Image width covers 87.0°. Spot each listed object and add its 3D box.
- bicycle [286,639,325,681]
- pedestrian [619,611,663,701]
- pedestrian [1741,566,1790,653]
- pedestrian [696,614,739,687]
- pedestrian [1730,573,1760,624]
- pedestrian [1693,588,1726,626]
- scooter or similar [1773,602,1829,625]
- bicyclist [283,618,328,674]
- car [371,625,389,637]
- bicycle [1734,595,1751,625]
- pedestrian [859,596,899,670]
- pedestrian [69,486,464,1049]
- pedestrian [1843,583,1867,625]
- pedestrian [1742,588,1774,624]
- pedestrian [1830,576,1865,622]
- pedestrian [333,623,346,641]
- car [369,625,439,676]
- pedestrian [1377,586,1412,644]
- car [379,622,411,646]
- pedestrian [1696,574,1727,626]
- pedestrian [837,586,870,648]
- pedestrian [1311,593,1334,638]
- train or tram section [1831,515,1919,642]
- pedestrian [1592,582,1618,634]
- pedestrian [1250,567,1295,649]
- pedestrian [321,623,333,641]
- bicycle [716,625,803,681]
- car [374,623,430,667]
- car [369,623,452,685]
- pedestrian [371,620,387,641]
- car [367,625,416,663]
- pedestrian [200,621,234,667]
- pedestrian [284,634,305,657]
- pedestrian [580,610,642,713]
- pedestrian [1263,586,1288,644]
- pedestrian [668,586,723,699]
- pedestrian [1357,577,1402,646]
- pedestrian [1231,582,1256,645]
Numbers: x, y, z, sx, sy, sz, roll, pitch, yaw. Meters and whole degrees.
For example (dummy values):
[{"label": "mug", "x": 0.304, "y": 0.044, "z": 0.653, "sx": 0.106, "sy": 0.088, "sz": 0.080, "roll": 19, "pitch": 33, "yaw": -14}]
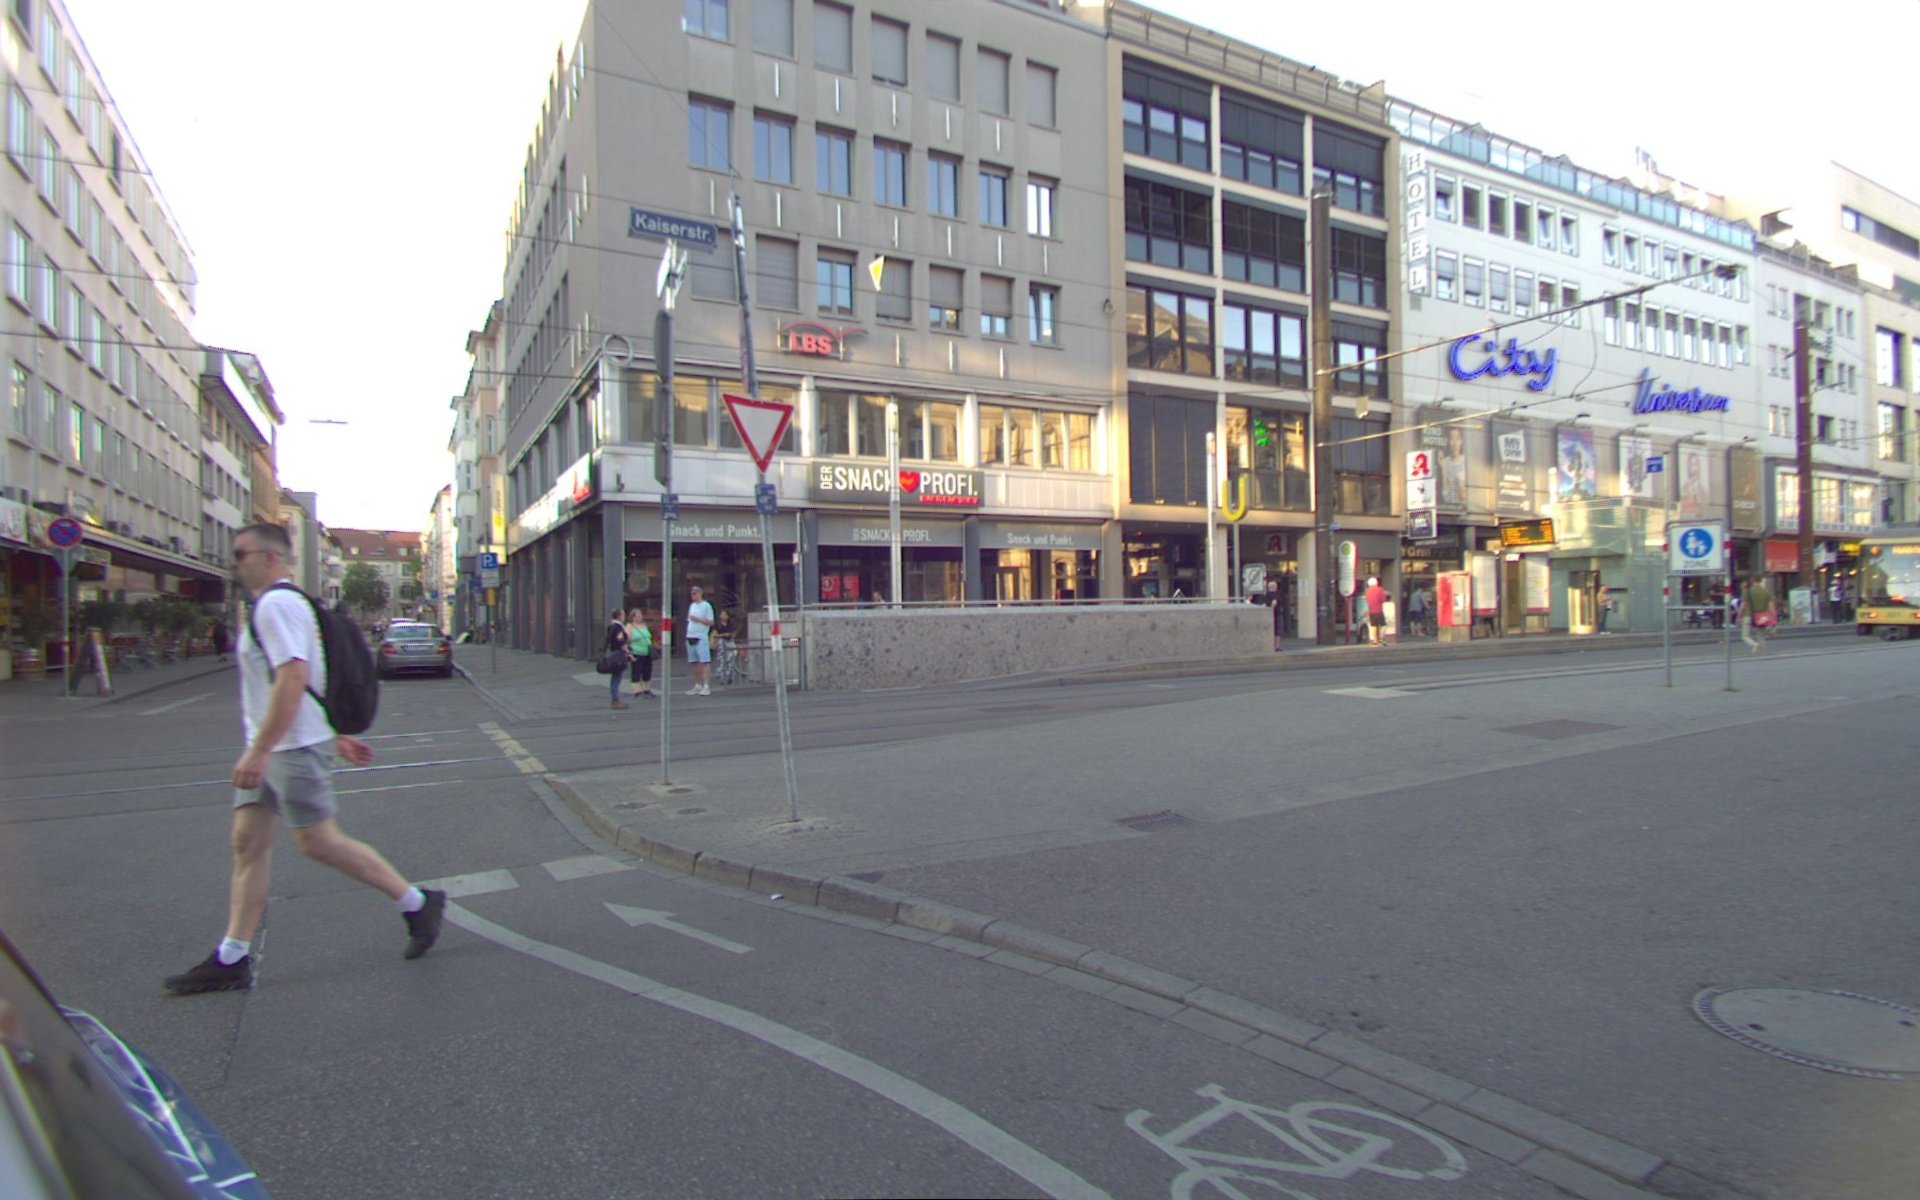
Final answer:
[{"label": "bicycle", "x": -18.597, "y": 1.688, "z": 28.791, "sx": 0.803, "sy": 1.081, "sz": 2.120, "roll": -2, "pitch": -1, "yaw": -30}, {"label": "pedestrian", "x": -5.510, "y": 0.950, "z": 17.458, "sx": 0.546, "sy": 1.505, "sz": 0.607, "roll": 0, "pitch": -2, "yaw": -37}, {"label": "pedestrian", "x": 16.492, "y": 0.197, "z": 20.732, "sx": 0.719, "sy": 1.738, "sz": 0.700, "roll": -2, "pitch": -2, "yaw": 38}, {"label": "pedestrian", "x": -4.851, "y": 1.004, "z": 20.248, "sx": 0.677, "sy": 1.445, "sz": 0.554, "roll": -1, "pitch": -1, "yaw": 9}, {"label": "pedestrian", "x": 27.253, "y": -0.037, "z": 35.149, "sx": 0.707, "sy": 1.738, "sz": 0.767, "roll": -2, "pitch": -2, "yaw": 32}, {"label": "pedestrian", "x": 27.814, "y": 0.279, "z": 37.553, "sx": 0.708, "sy": 1.389, "sz": 0.711, "roll": 0, "pitch": -2, "yaw": -30}, {"label": "scooter or similar", "x": 31.716, "y": 0.511, "z": 38.185, "sx": 1.509, "sy": 0.837, "sz": 0.557, "roll": -1, "pitch": -1, "yaw": 10}, {"label": "bicyclist", "x": -18.602, "y": 1.300, "z": 28.784, "sx": 0.983, "sy": 1.513, "sz": 0.860, "roll": -2, "pitch": -1, "yaw": -30}, {"label": "car", "x": -72.622, "y": 3.851, "z": 126.773, "sx": 1.769, "sy": 1.522, "sz": 4.013, "roll": 0, "pitch": -1, "yaw": -28}, {"label": "bicycle", "x": 30.021, "y": 0.376, "z": 38.819, "sx": 0.433, "sy": 1.150, "sz": 1.598, "roll": -2, "pitch": -1, "yaw": 36}, {"label": "pedestrian", "x": -1.923, "y": 0.774, "z": 23.963, "sx": 0.697, "sy": 1.738, "sz": 0.718, "roll": 0, "pitch": -2, "yaw": -31}, {"label": "pedestrian", "x": -2.785, "y": 0.563, "z": 4.097, "sx": 1.014, "sy": 1.877, "sz": 1.030, "roll": -1, "pitch": -1, "yaw": 35}, {"label": "pedestrian", "x": 37.769, "y": 0.159, "z": 42.706, "sx": 0.598, "sy": 1.740, "sz": 0.604, "roll": 0, "pitch": -2, "yaw": -36}, {"label": "pedestrian", "x": 30.829, "y": 0.244, "z": 39.095, "sx": 0.708, "sy": 1.389, "sz": 0.711, "roll": 0, "pitch": -2, "yaw": -30}, {"label": "pedestrian", "x": 33.761, "y": -0.040, "z": 38.505, "sx": 0.697, "sy": 1.738, "sz": 0.778, "roll": 0, "pitch": -2, "yaw": -29}, {"label": "pedestrian", "x": -57.563, "y": 2.955, "z": 93.886, "sx": 0.961, "sy": 1.674, "sz": 0.981, "roll": -1, "pitch": -1, "yaw": -29}, {"label": "car", "x": -17.978, "y": 1.567, "z": 32.620, "sx": 1.769, "sy": 1.522, "sz": 4.145, "roll": 0, "pitch": -1, "yaw": -32}, {"label": "pedestrian", "x": 12.087, "y": 0.418, "z": 28.161, "sx": 0.595, "sy": 1.600, "sz": 0.629, "roll": -1, "pitch": -1, "yaw": -10}, {"label": "car", "x": -37.372, "y": 2.220, "z": 66.980, "sx": 1.769, "sy": 1.522, "sz": 4.013, "roll": 0, "pitch": -1, "yaw": -28}, {"label": "pedestrian", "x": 25.554, "y": 0.007, "z": 34.430, "sx": 0.707, "sy": 1.738, "sz": 0.767, "roll": -2, "pitch": -2, "yaw": 30}, {"label": "pedestrian", "x": -3.074, "y": 0.494, "z": 29.136, "sx": 0.697, "sy": 1.738, "sz": 0.718, "roll": 0, "pitch": -2, "yaw": -31}, {"label": "pedestrian", "x": 12.605, "y": 0.544, "z": 35.184, "sx": 0.509, "sy": 1.559, "sz": 0.511, "roll": 0, "pitch": -2, "yaw": -37}, {"label": "train or tram section", "x": 31.256, "y": -0.681, "z": 30.559, "sx": 14.259, "sy": 3.344, "sz": 2.818, "roll": -1, "pitch": -1, "yaw": -30}, {"label": "pedestrian", "x": 20.351, "y": 0.268, "z": 31.947, "sx": 0.497, "sy": 1.630, "sz": 0.514, "roll": 0, "pitch": -2, "yaw": -38}, {"label": "pedestrian", "x": 7.497, "y": 0.202, "z": 24.306, "sx": 0.697, "sy": 1.939, "sz": 0.718, "roll": 0, "pitch": -2, "yaw": -34}, {"label": "pedestrian", "x": -58.434, "y": 2.965, "z": 93.472, "sx": 0.856, "sy": 1.674, "sz": 0.934, "roll": -1, "pitch": -1, "yaw": -29}, {"label": "bicycle", "x": -4.419, "y": 1.148, "z": 22.321, "sx": 1.769, "sy": 1.116, "sz": 0.502, "roll": -3, "pitch": 0, "yaw": -24}, {"label": "car", "x": -20.971, "y": 1.650, "z": 38.117, "sx": 1.769, "sy": 1.522, "sz": 4.013, "roll": 0, "pitch": -1, "yaw": -28}, {"label": "car", "x": -14.951, "y": 1.394, "z": 27.439, "sx": 1.769, "sy": 1.522, "sz": 4.145, "roll": 0, "pitch": -1, "yaw": -32}, {"label": "pedestrian", "x": -47.844, "y": 2.512, "z": 83.350, "sx": 0.856, "sy": 1.674, "sz": 0.933, "roll": -2, "pitch": -1, "yaw": -15}, {"label": "car", "x": -24.452, "y": 1.859, "z": 43.626, "sx": 1.769, "sy": 1.522, "sz": 4.013, "roll": 0, "pitch": -1, "yaw": -28}, {"label": "pedestrian", "x": -28.146, "y": 1.654, "z": 38.344, "sx": 0.856, "sy": 1.674, "sz": 0.934, "roll": -2, "pitch": -1, "yaw": -27}, {"label": "pedestrian", "x": -52.182, "y": 3.555, "z": 79.343, "sx": 1.277, "sy": 1.674, "sz": 1.017, "roll": -1, "pitch": -1, "yaw": -27}, {"label": "pedestrian", "x": -5.406, "y": 0.942, "z": 15.696, "sx": 0.681, "sy": 1.553, "sz": 0.602, "roll": -1, "pitch": -2, "yaw": 18}, {"label": "pedestrian", "x": 8.799, "y": 0.430, "z": 28.212, "sx": 0.623, "sy": 1.600, "sz": 0.601, "roll": -1, "pitch": -2, "yaw": 19}, {"label": "pedestrian", "x": -4.705, "y": 0.743, "z": 17.996, "sx": 0.698, "sy": 1.941, "sz": 0.777, "roll": 0, "pitch": -2, "yaw": -37}, {"label": "pedestrian", "x": 10.642, "y": 0.298, "z": 25.662, "sx": 0.773, "sy": 1.710, "sz": 0.718, "roll": 0, "pitch": -2, "yaw": -35}, {"label": "pedestrian", "x": 7.994, "y": 0.377, "z": 28.511, "sx": 0.623, "sy": 1.738, "sz": 0.602, "roll": -1, "pitch": -2, "yaw": 17}]
